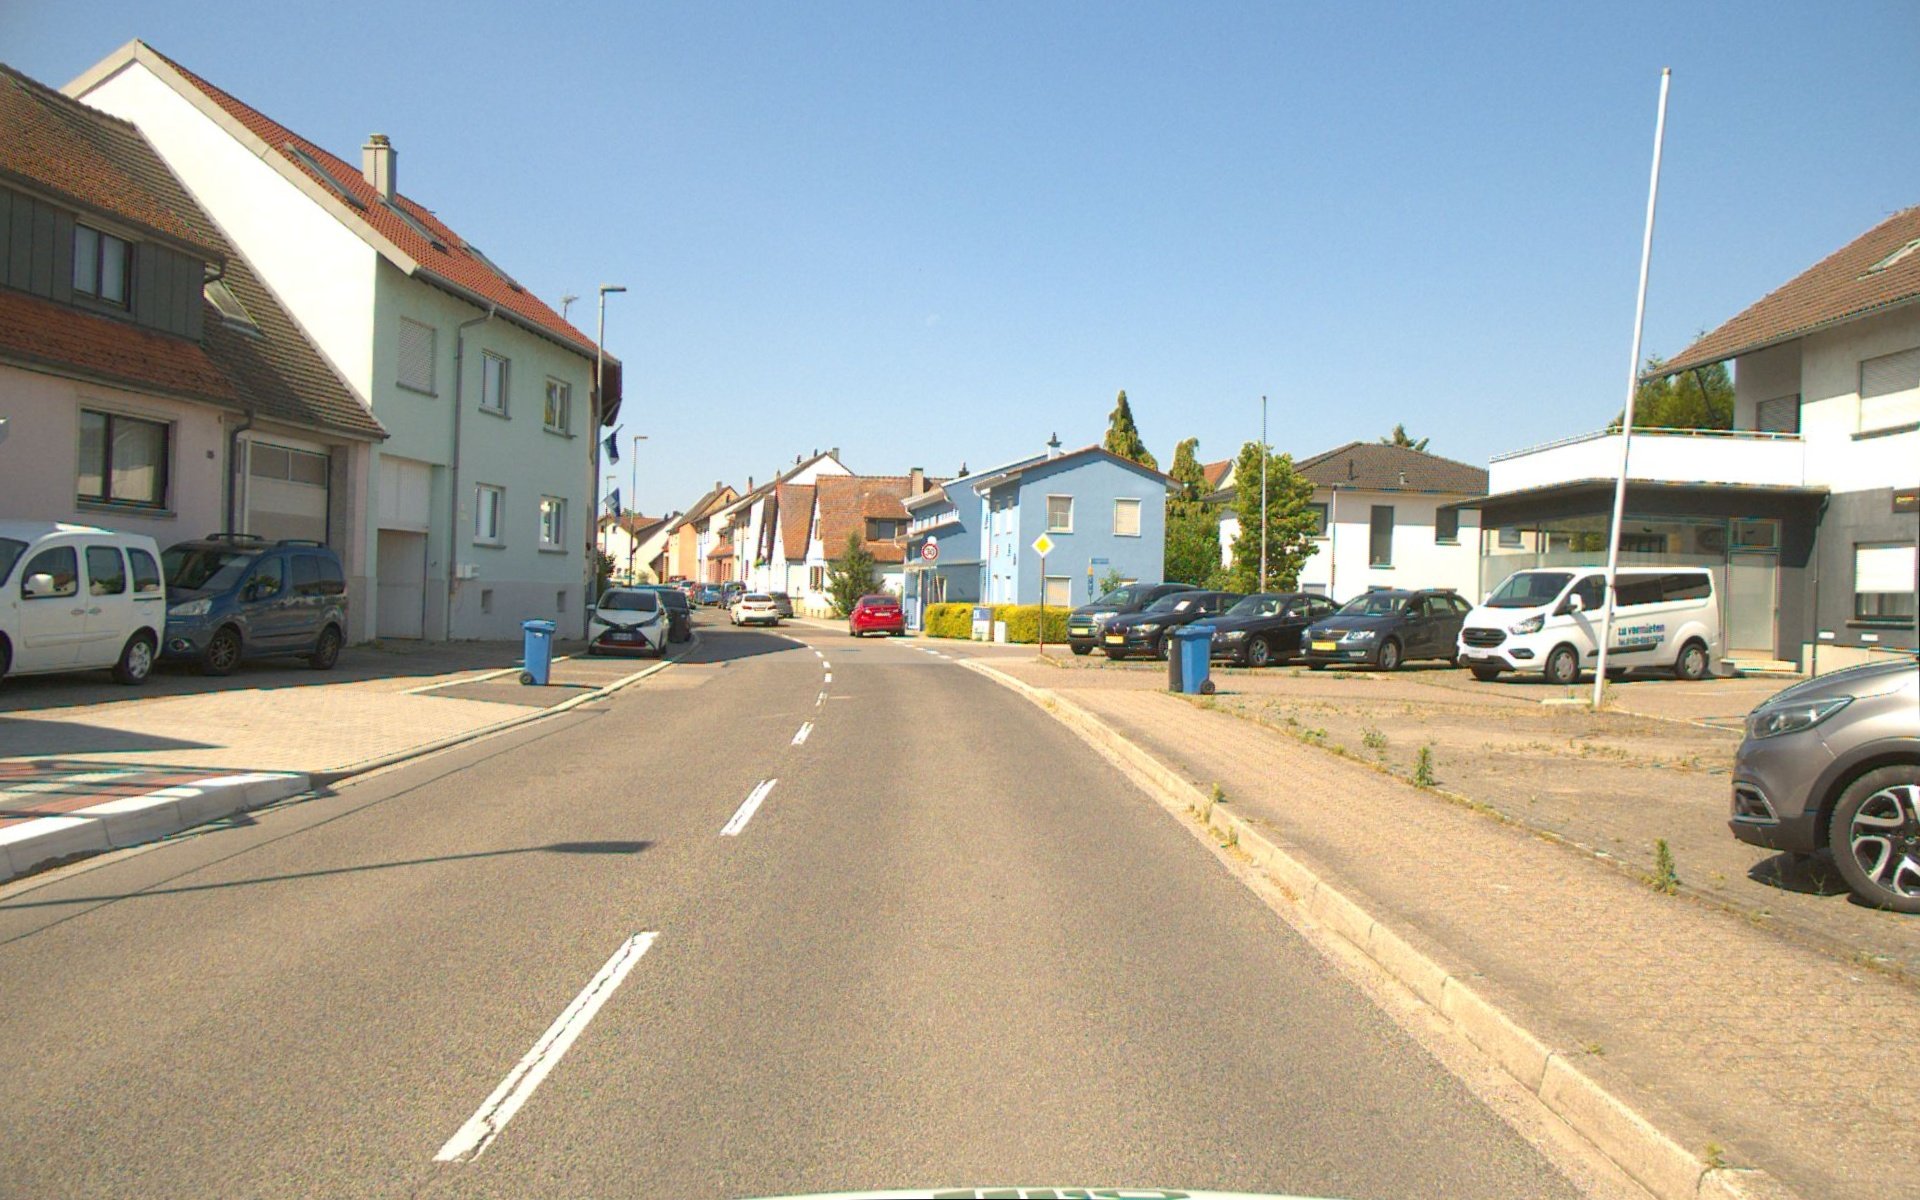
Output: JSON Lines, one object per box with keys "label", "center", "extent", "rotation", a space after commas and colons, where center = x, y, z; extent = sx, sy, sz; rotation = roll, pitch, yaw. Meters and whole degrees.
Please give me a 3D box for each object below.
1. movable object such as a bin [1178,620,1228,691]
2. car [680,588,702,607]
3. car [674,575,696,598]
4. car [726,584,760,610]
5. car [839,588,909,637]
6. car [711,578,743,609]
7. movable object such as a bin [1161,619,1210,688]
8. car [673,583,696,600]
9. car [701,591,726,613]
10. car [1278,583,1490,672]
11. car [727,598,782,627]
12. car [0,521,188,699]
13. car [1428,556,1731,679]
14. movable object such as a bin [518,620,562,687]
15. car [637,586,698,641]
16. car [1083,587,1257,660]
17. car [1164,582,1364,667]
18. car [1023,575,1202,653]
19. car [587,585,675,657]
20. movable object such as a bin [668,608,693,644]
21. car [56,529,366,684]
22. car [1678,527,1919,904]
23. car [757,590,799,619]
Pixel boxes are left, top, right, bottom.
{"label": "movable object such as a bin", "center": [3.380, 0.769, 23.027], "extent": [0.547, 0.955, 0.513], "rotation": [1, 0, -11]}
{"label": "car", "center": [-22.580, -0.193, 138.677], "extent": [1.397, 1.541, 3.290], "rotation": [2, 0, -15]}
{"label": "car", "center": [-25.350, -1.223, 152.315], "extent": [1.737, 2.039, 3.437], "rotation": [1, 0, -14]}
{"label": "car", "center": [-13.940, -0.202, 106.201], "extent": [1.676, 1.523, 3.438], "rotation": [2, 0, -16]}
{"label": "car", "center": [-3.105, 0.408, 58.951], "extent": [1.703, 1.520, 4.340], "rotation": [0, 3, -14]}
{"label": "car", "center": [-15.685, -0.436, 111.034], "extent": [1.622, 1.943, 3.611], "rotation": [2, 0, -15]}
{"label": "movable object such as a bin", "center": [3.206, 0.755, 23.523], "extent": [0.547, 0.953, 0.513], "rotation": [1, 0, -11]}
{"label": "car", "center": [-24.491, -0.720, 147.167], "extent": [1.737, 1.458, 3.437], "rotation": [1, 0, -14]}
{"label": "car", "center": [-18.110, 0.162, 121.602], "extent": [1.397, 1.541, 3.290], "rotation": [2, 0, -15]}
{"label": "car", "center": [8.133, 0.493, 31.528], "extent": [4.282, 1.578, 1.953], "rotation": [1, 0, -43]}
{"label": "car", "center": [-9.453, 0.559, 75.875], "extent": [1.960, 1.311, 3.984], "rotation": [1, 0, -15]}
{"label": "car", "center": [-10.602, 0.085, 18.175], "extent": [1.926, 1.805, 4.279], "rotation": [2, 0, 4]}
{"label": "car", "center": [11.171, 0.312, 29.764], "extent": [5.207, 2.049, 2.212], "rotation": [1, 0, -28]}
{"label": "movable object such as a bin", "center": [-6.290, 0.797, 24.780], "extent": [0.547, 0.953, 0.513], "rotation": [3, -1, -11]}
{"label": "car", "center": [-8.815, 0.391, 50.132], "extent": [1.648, 1.462, 3.987], "rotation": [4, -1, -9]}
{"label": "car", "center": [4.527, 0.483, 35.367], "extent": [1.722, 1.472, 3.845], "rotation": [1, 0, 45]}
{"label": "car", "center": [6.159, 0.466, 33.240], "extent": [1.952, 1.593, 4.208], "rotation": [1, 0, 45]}
{"label": "car", "center": [3.528, 0.307, 37.961], "extent": [4.077, 1.682, 1.804], "rotation": [1, 0, -41]}
{"label": "car", "center": [-7.372, 0.453, 37.319], "extent": [1.652, 1.487, 3.643], "rotation": [2, 0, -7]}
{"label": "movable object such as a bin", "center": [-7.837, 0.730, 46.318], "extent": [0.542, 0.944, 0.822], "rotation": [6, -1, -15]}
{"label": "car", "center": [-10.196, 0.089, 22.934], "extent": [1.798, 1.824, 4.346], "rotation": [4, 0, 7]}
{"label": "car", "center": [5.438, 0.471, 7.019], "extent": [4.098, 1.582, 1.768], "rotation": [-1, -1, 36]}
{"label": "car", "center": [-9.908, 0.226, 89.871], "extent": [1.676, 1.458, 3.873], "rotation": [2, 0, -15]}
